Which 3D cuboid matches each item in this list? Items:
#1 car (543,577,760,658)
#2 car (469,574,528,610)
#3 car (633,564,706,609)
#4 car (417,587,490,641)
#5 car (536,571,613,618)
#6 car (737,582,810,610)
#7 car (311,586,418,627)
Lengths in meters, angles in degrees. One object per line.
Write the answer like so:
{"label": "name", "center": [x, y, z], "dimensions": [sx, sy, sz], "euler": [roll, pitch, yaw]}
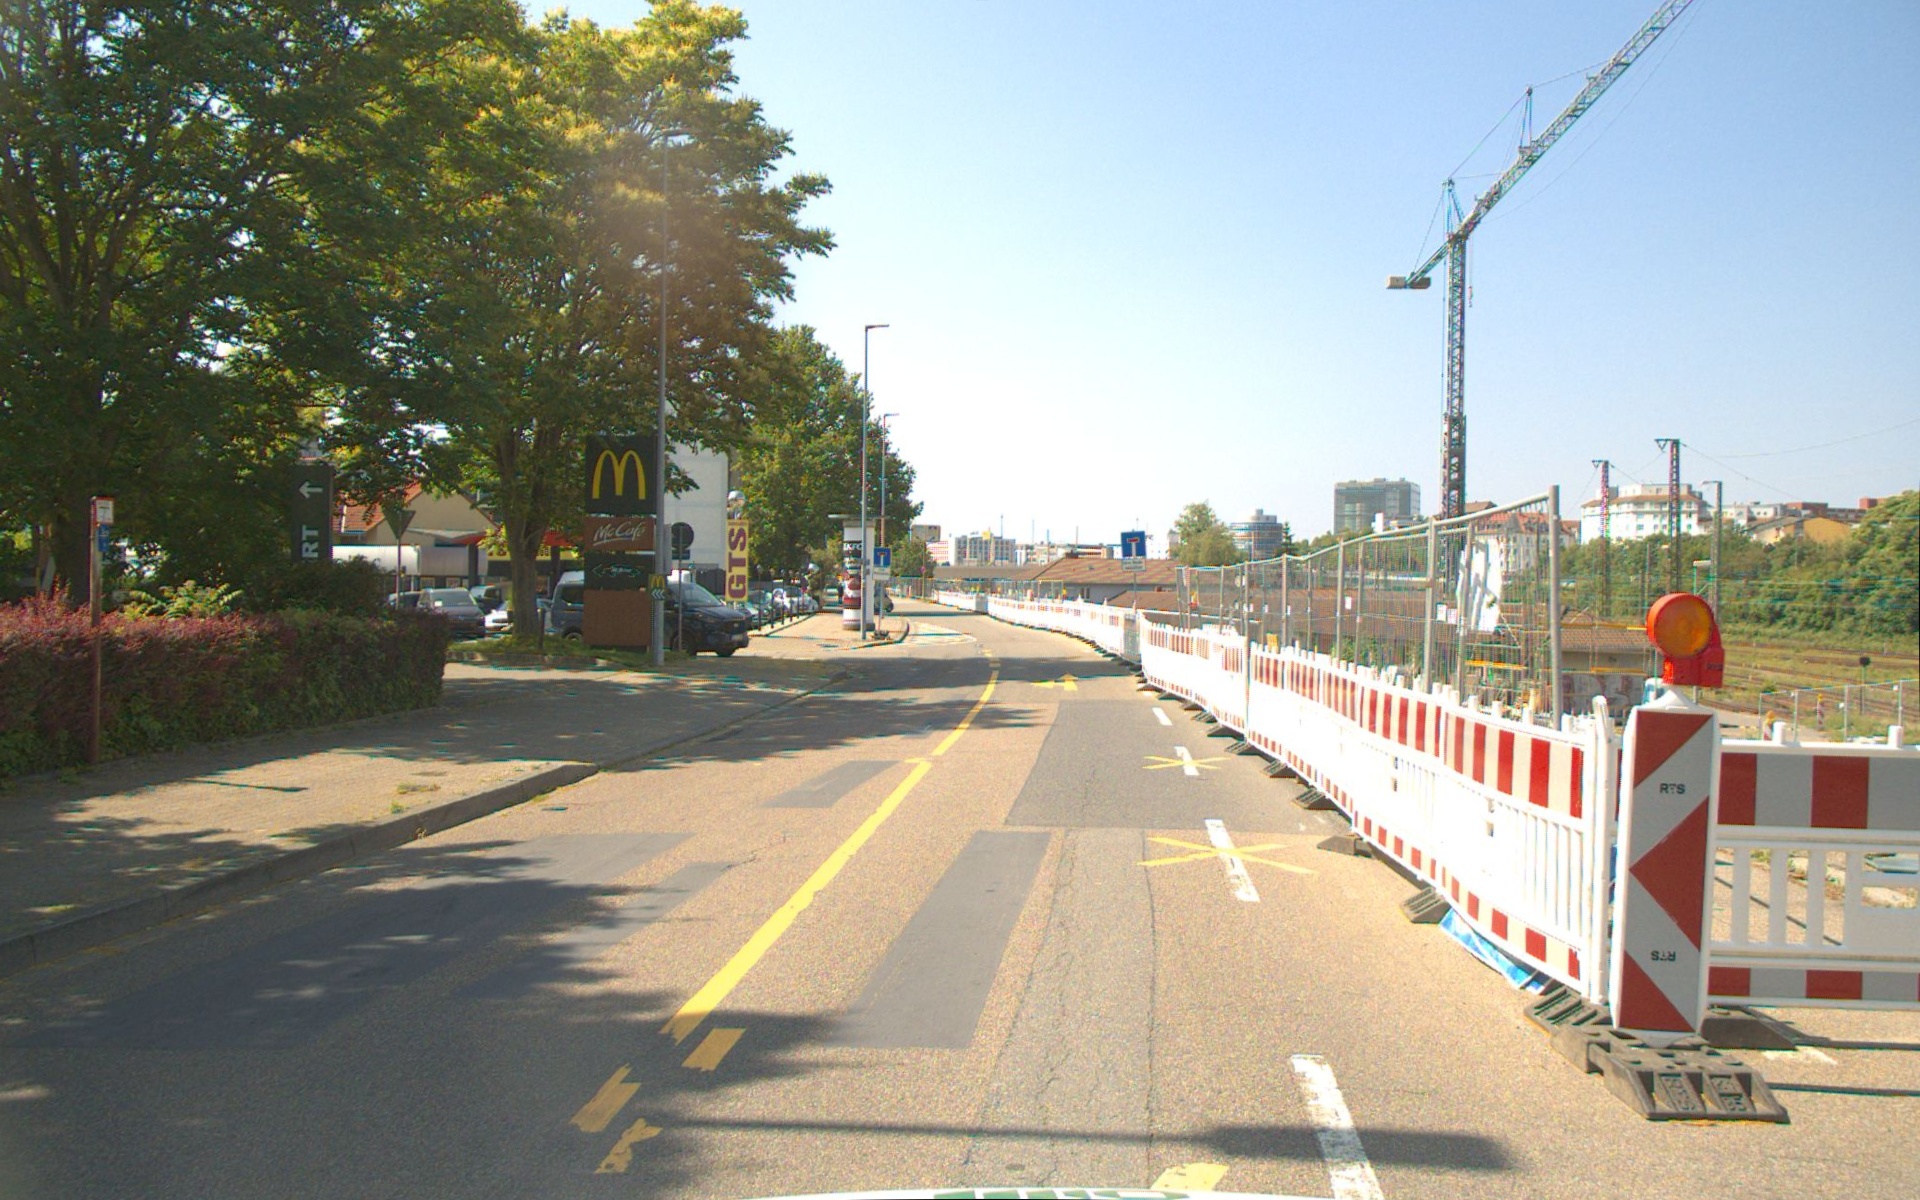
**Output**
{"label": "car", "center": [-7.931, 0.419, 42.471], "dimensions": [5.255, 1.969, 2.000], "euler": [1, 0, 23]}
{"label": "car", "center": [-19.705, -0.342, 70.553], "dimensions": [1.551, 1.445, 3.650], "euler": [1, 0, -30]}
{"label": "car", "center": [-13.172, -0.603, 74.852], "dimensions": [1.806, 1.963, 3.954], "euler": [1, 0, -33]}
{"label": "car", "center": [-17.231, 0.455, 56.178], "dimensions": [1.967, 1.758, 3.972], "euler": [0, 0, -23]}
{"label": "car", "center": [-16.587, -0.247, 70.999], "dimensions": [1.975, 1.937, 3.954], "euler": [1, 0, -33]}
{"label": "car", "center": [-10.064, -0.195, 89.167], "dimensions": [3.599, 1.445, 1.573], "euler": [1, 0, 19]}
{"label": "car", "center": [-21.895, 0.238, 60.830], "dimensions": [3.625, 1.445, 1.561], "euler": [1, 0, -23]}
